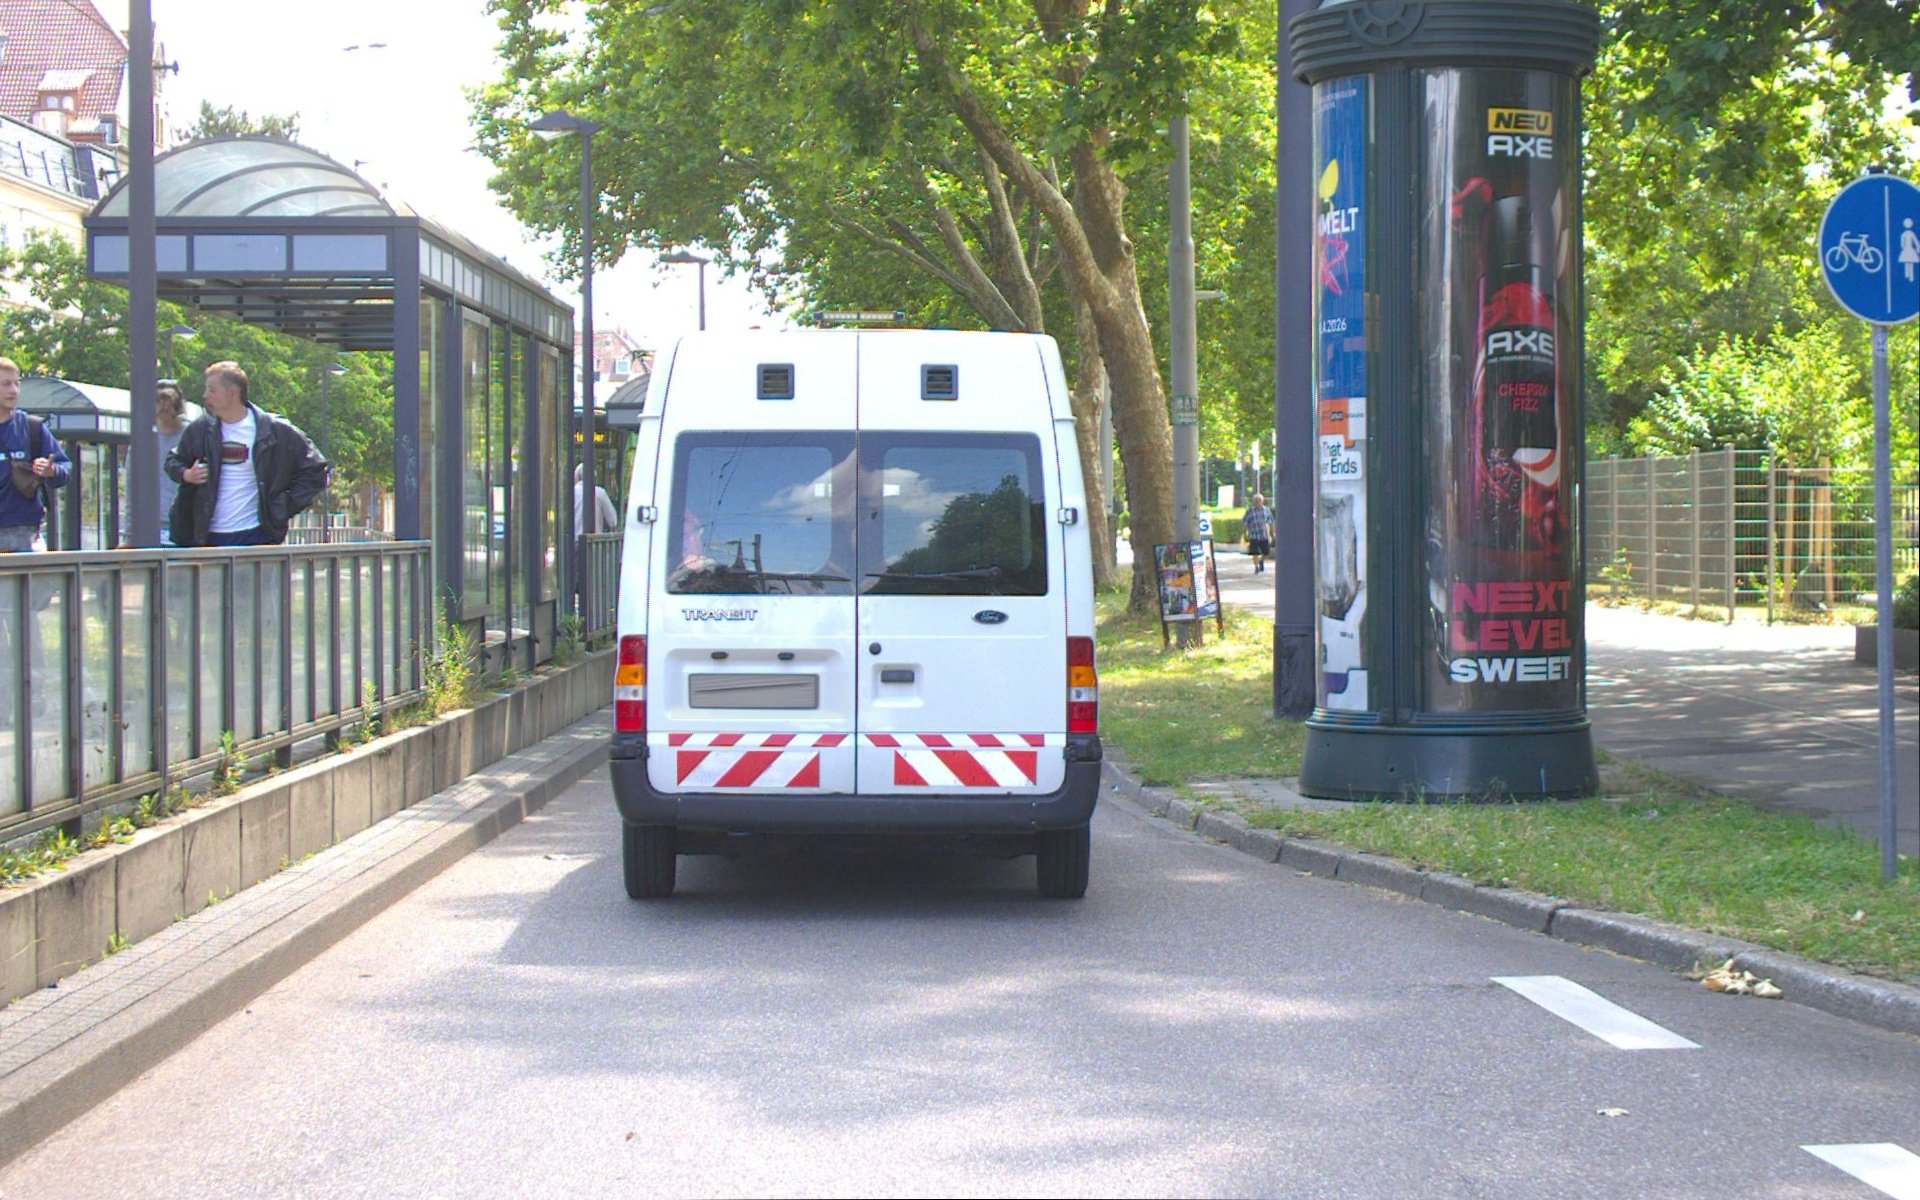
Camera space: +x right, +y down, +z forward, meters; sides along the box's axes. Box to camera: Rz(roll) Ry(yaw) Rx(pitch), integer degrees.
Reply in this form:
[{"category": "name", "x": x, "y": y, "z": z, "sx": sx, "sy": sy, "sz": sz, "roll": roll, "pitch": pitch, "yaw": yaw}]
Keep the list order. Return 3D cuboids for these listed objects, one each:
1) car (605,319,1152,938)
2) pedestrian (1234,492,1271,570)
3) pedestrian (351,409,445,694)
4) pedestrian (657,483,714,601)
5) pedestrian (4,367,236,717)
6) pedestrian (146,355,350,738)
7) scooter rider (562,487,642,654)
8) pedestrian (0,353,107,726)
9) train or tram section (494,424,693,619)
[{"category": "car", "x": -0.326, "y": 0.036, "z": 15.395, "sx": 2.047, "sy": 2.325, "sz": 4.715, "roll": -1, "pitch": 2, "yaw": 0}, {"category": "pedestrian", "x": 6.111, "y": -1.444, "z": 71.733, "sx": 0.693, "sy": 1.620, "sz": 0.637, "roll": -1, "pitch": 1, "yaw": -1}, {"category": "pedestrian", "x": -3.789, "y": -0.330, "z": 23.178, "sx": 0.470, "sy": 1.894, "sz": 0.537, "roll": -1, "pitch": 2, "yaw": -25}, {"category": "pedestrian", "x": -3.550, "y": -0.759, "z": 44.530, "sx": 0.675, "sy": 1.510, "sz": 0.596, "roll": -1, "pitch": 1, "yaw": -1}, {"category": "pedestrian", "x": -4.484, "y": -0.319, "z": 18.456, "sx": 0.886, "sy": 1.794, "sz": 1.495, "roll": 0, "pitch": 1, "yaw": -1}, {"category": "pedestrian", "x": -3.575, "y": -0.276, "z": 17.336, "sx": 0.810, "sy": 1.866, "sz": 1.031, "roll": 0, "pitch": 1, "yaw": -1}, {"category": "scooter rider", "x": -3.408, "y": -0.290, "z": 32.779, "sx": 0.654, "sy": 1.565, "sz": 0.901, "roll": -1, "pitch": 2, "yaw": -1}, {"category": "pedestrian", "x": -4.750, "y": -0.306, "z": 17.140, "sx": 0.712, "sy": 1.794, "sz": 1.132, "roll": 0, "pitch": 1, "yaw": -1}, {"category": "train or tram section", "x": -7.217, "y": -1.606, "z": 69.472, "sx": 2.723, "sy": 3.571, "sz": 13.017, "roll": 0, "pitch": 2, "yaw": 0}]
